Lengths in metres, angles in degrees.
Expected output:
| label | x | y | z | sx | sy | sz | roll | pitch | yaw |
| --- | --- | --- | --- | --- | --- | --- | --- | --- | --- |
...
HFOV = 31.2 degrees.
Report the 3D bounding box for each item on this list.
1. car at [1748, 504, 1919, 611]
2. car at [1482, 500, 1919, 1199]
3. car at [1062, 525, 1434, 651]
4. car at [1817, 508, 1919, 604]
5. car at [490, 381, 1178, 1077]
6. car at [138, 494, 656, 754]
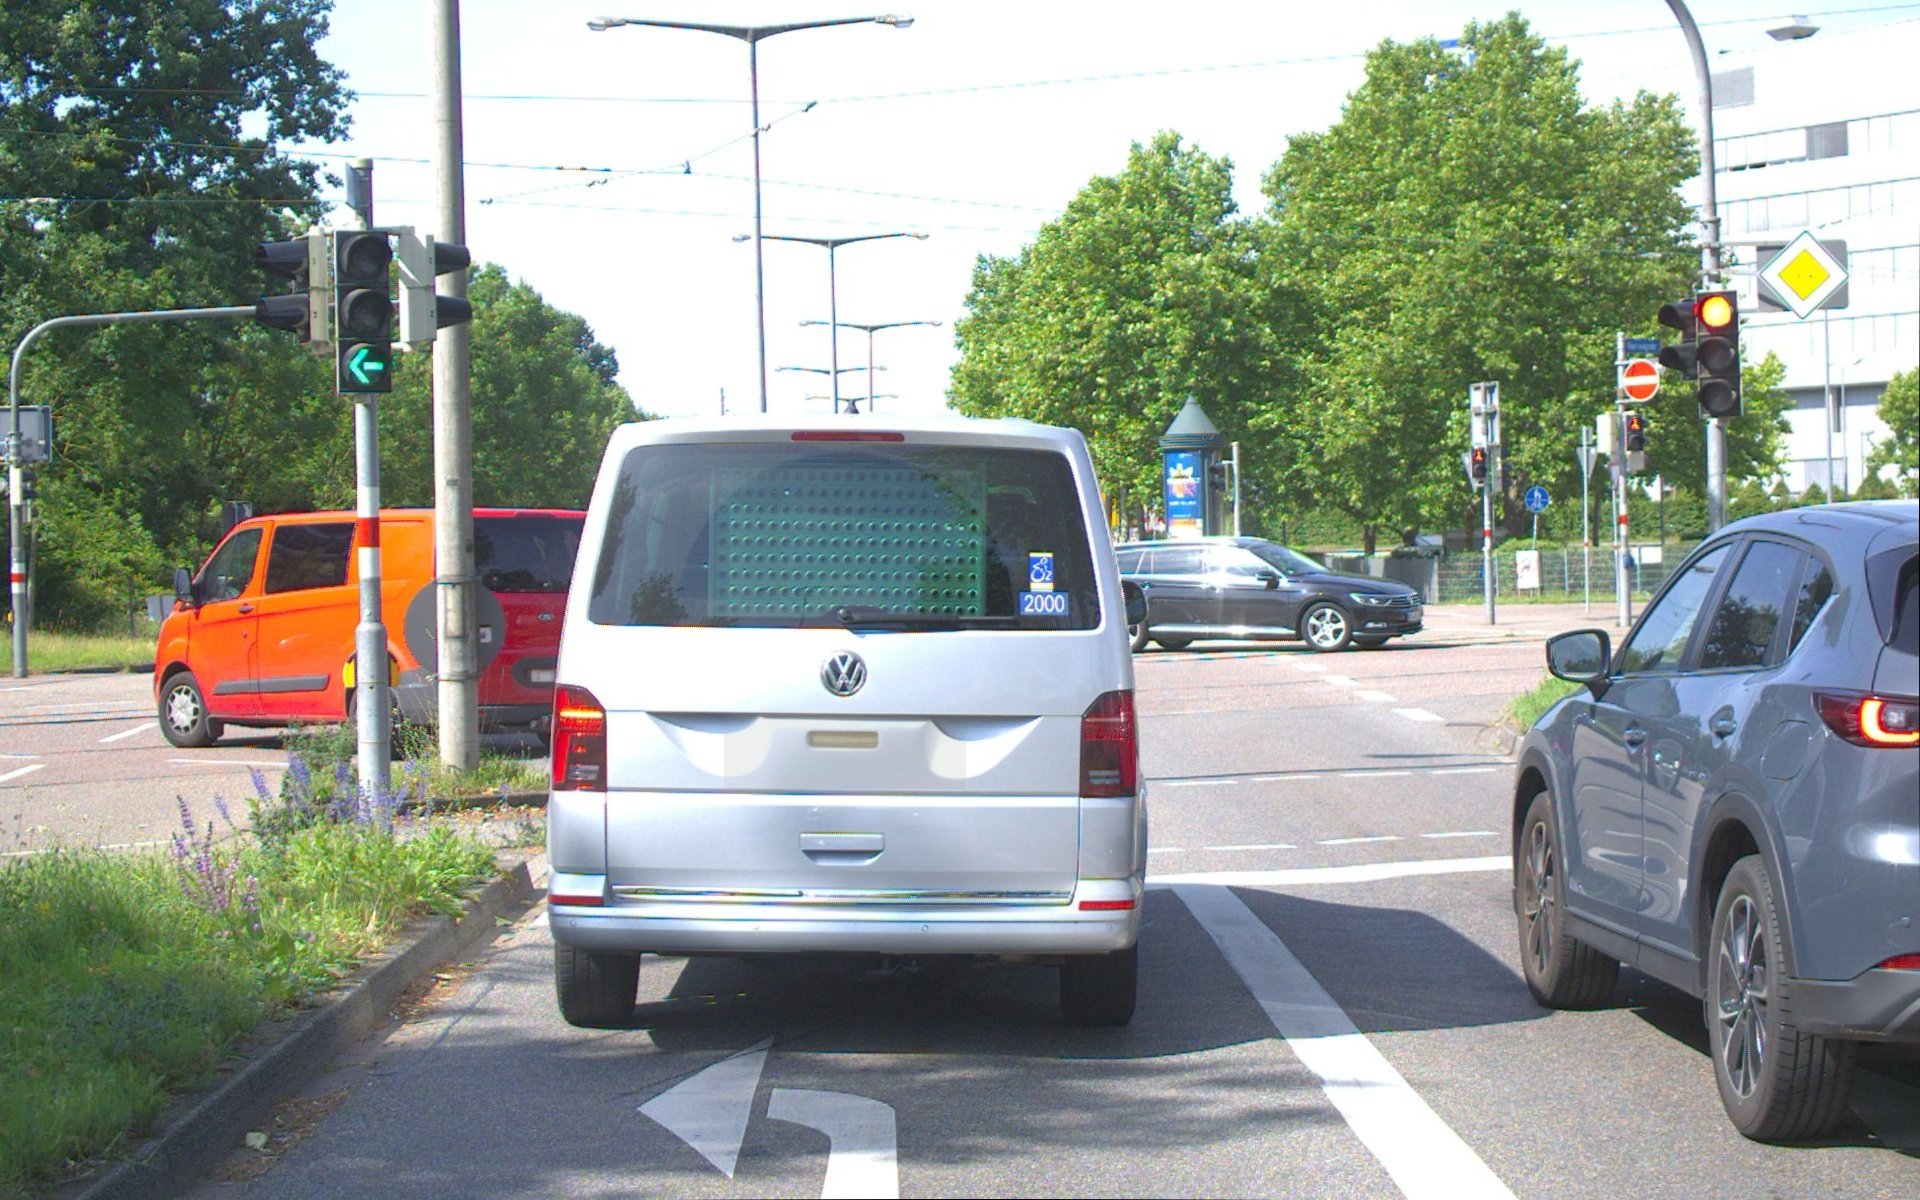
| label | x | y | z | sx | sy | sz | roll | pitch | yaw |
| --- | --- | --- | --- | --- | --- | --- | --- | --- | --- |
| car | 15.413 | -0.742 | 57.180 | 4.613 | 1.683 | 1.915 | -2 | 1 | -36 |
| car | 2.811 | 0.577 | 10.111 | 1.766 | 1.653 | 4.496 | 0 | 1 | -1 |
| car | 3.708 | -0.153 | 44.316 | 4.385 | 1.505 | 1.849 | -1 | 1 | 24 |
| car | 17.997 | -0.842 | 62.999 | 4.613 | 1.683 | 1.915 | -2 | 1 | -36 |
| car | -0.377 | 0.337 | 12.337 | 1.941 | 1.965 | 5.022 | -1 | 1 | 0 |
| car | -4.655 | 0.171 | 27.939 | 1.969 | 1.918 | 4.558 | -2 | 1 | -42 |
